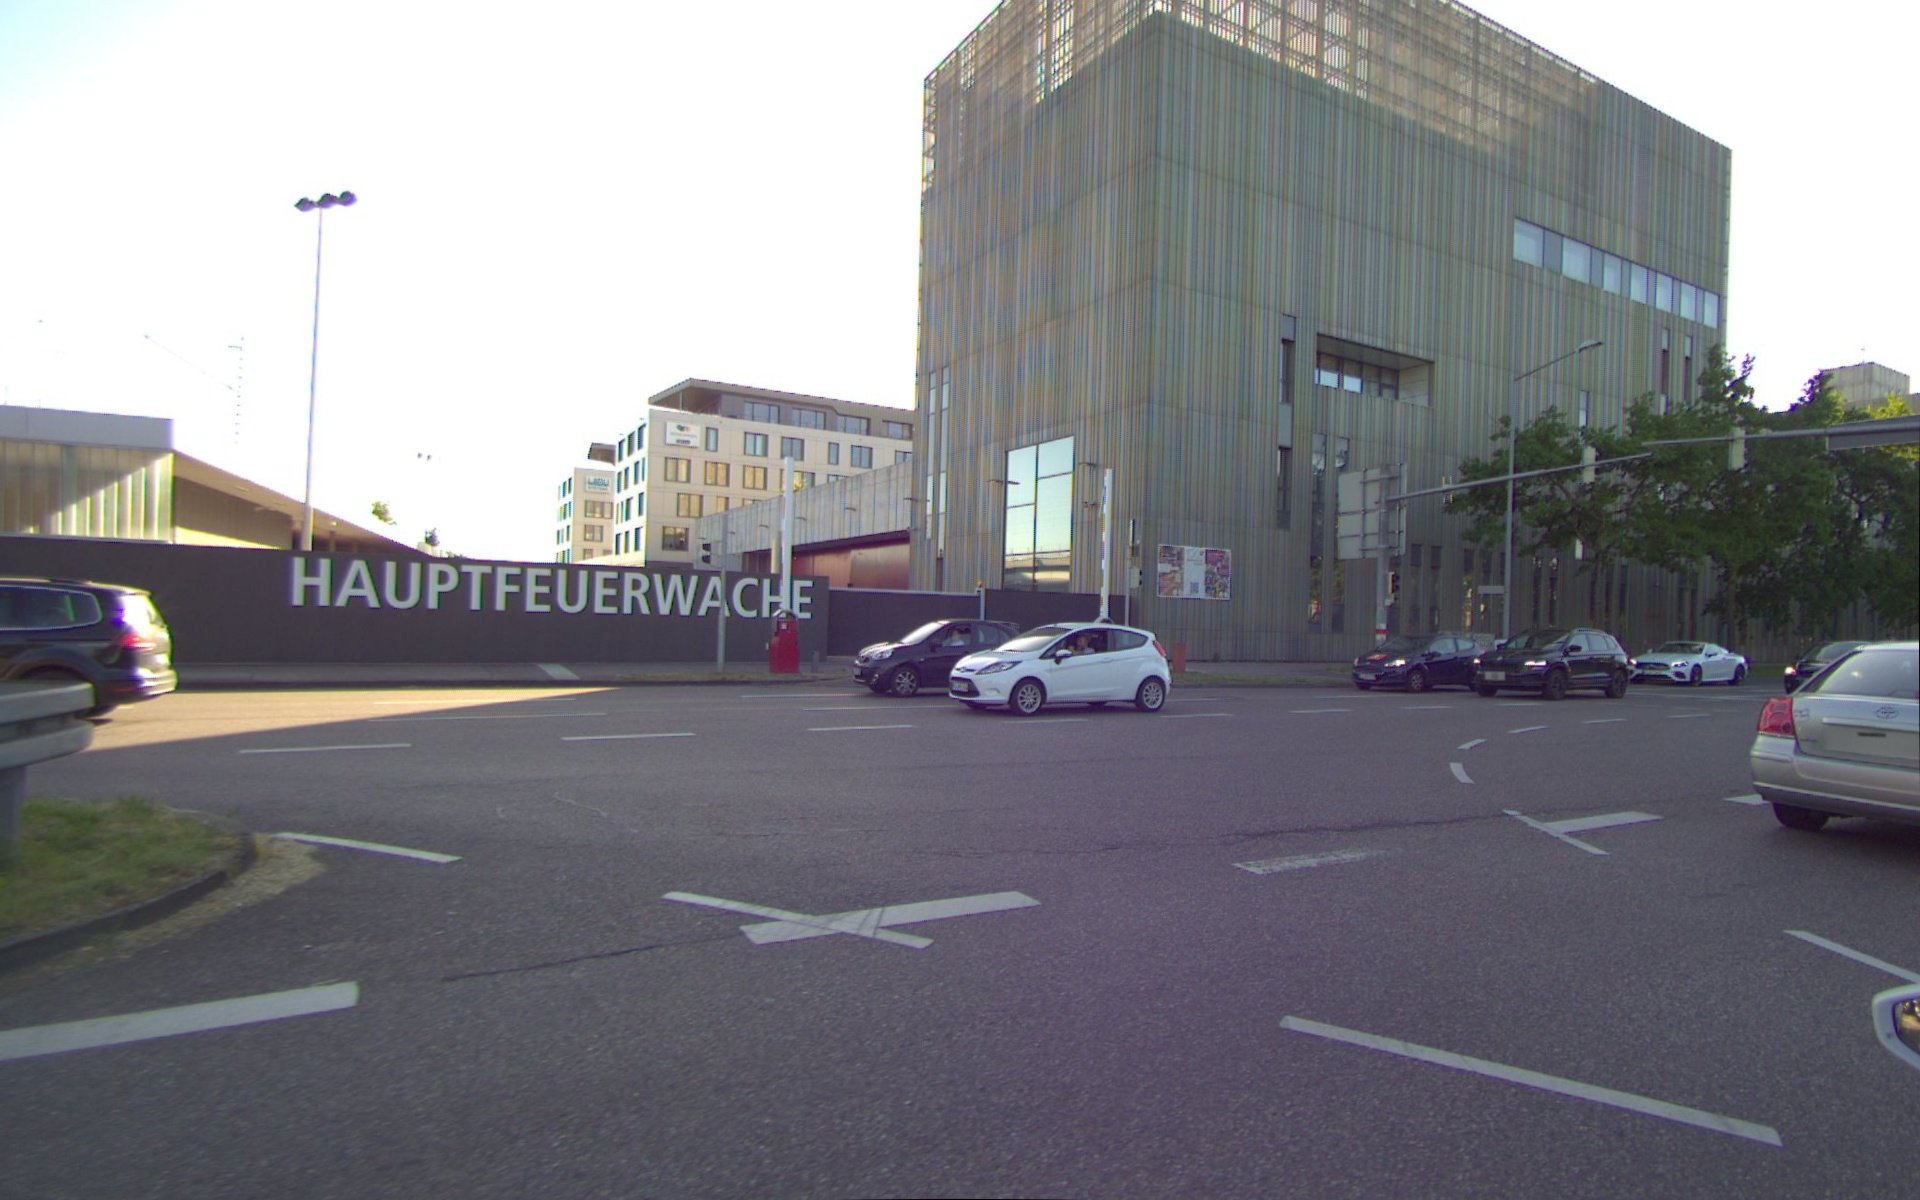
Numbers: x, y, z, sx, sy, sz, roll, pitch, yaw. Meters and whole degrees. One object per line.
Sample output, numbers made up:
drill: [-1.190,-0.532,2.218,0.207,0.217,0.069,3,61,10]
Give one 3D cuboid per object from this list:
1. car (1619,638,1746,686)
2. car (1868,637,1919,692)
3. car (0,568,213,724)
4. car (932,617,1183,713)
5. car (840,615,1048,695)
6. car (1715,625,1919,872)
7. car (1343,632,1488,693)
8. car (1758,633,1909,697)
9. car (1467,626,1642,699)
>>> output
car: [23.492,2.012,32.617,4.507,1.462,1.681,3,-3,-31]
car: [27.283,1.818,28.111,4.029,1.462,1.628,3,-3,-30]
car: [-11.834,0.521,11.827,4.573,1.760,1.817,3,-3,-29]
car: [1.649,1.081,16.635,3.930,1.423,1.639,3,-3,-30]
car: [-0.311,1.133,20.465,3.925,1.501,1.642,2,-3,-25]
car: [7.707,1.021,7.510,4.267,1.499,1.725,3,-1,-30]
car: [11.581,1.589,25.519,3.449,1.453,1.640,3,-3,-29]
car: [21.741,1.618,24.977,4.030,1.462,1.628,3,-3,-31]
car: [13.925,1.461,23.477,4.347,1.565,1.639,3,-3,-30]
